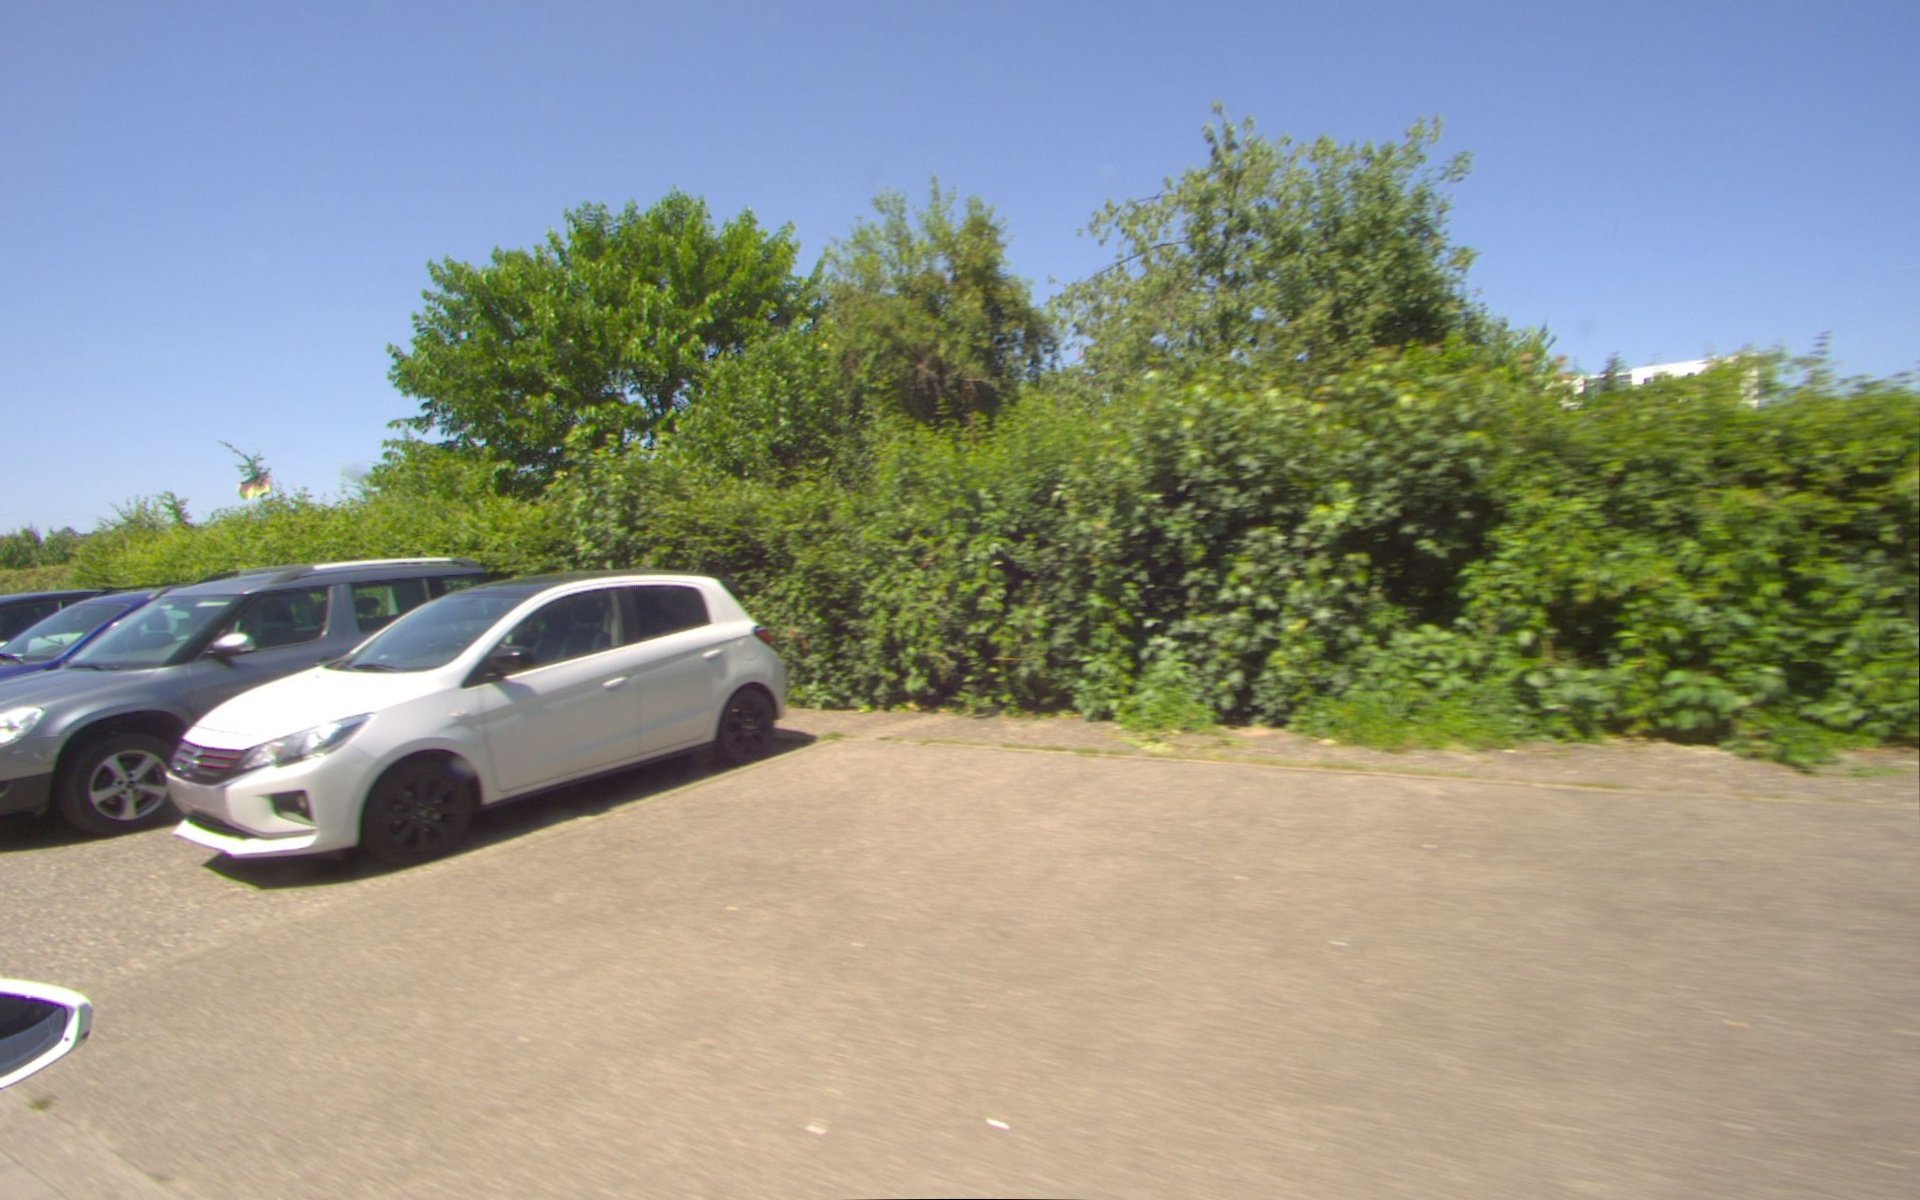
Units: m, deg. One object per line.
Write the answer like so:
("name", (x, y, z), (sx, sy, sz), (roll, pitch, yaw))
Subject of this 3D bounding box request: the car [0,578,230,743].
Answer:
("car", (-10.551, 0.684, 10.707), (1.834, 1.545, 3.958), (-1, 4, 25))

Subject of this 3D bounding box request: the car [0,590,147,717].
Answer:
("car", (-12.808, 0.720, 12.795), (1.566, 1.525, 3.376), (0, 3, 34))

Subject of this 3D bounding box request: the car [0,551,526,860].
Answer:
("car", (-5.638, 0.558, 7.803), (1.637, 1.664, 3.955), (-1, 4, 25))

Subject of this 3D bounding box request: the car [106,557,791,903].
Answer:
("car", (-3.025, 0.559, 6.676), (1.587, 1.471, 3.676), (0, 5, 34))

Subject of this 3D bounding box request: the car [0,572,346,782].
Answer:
("car", (-8.023, 0.624, 9.434), (1.515, 1.549, 3.448), (-1, 4, 25))
